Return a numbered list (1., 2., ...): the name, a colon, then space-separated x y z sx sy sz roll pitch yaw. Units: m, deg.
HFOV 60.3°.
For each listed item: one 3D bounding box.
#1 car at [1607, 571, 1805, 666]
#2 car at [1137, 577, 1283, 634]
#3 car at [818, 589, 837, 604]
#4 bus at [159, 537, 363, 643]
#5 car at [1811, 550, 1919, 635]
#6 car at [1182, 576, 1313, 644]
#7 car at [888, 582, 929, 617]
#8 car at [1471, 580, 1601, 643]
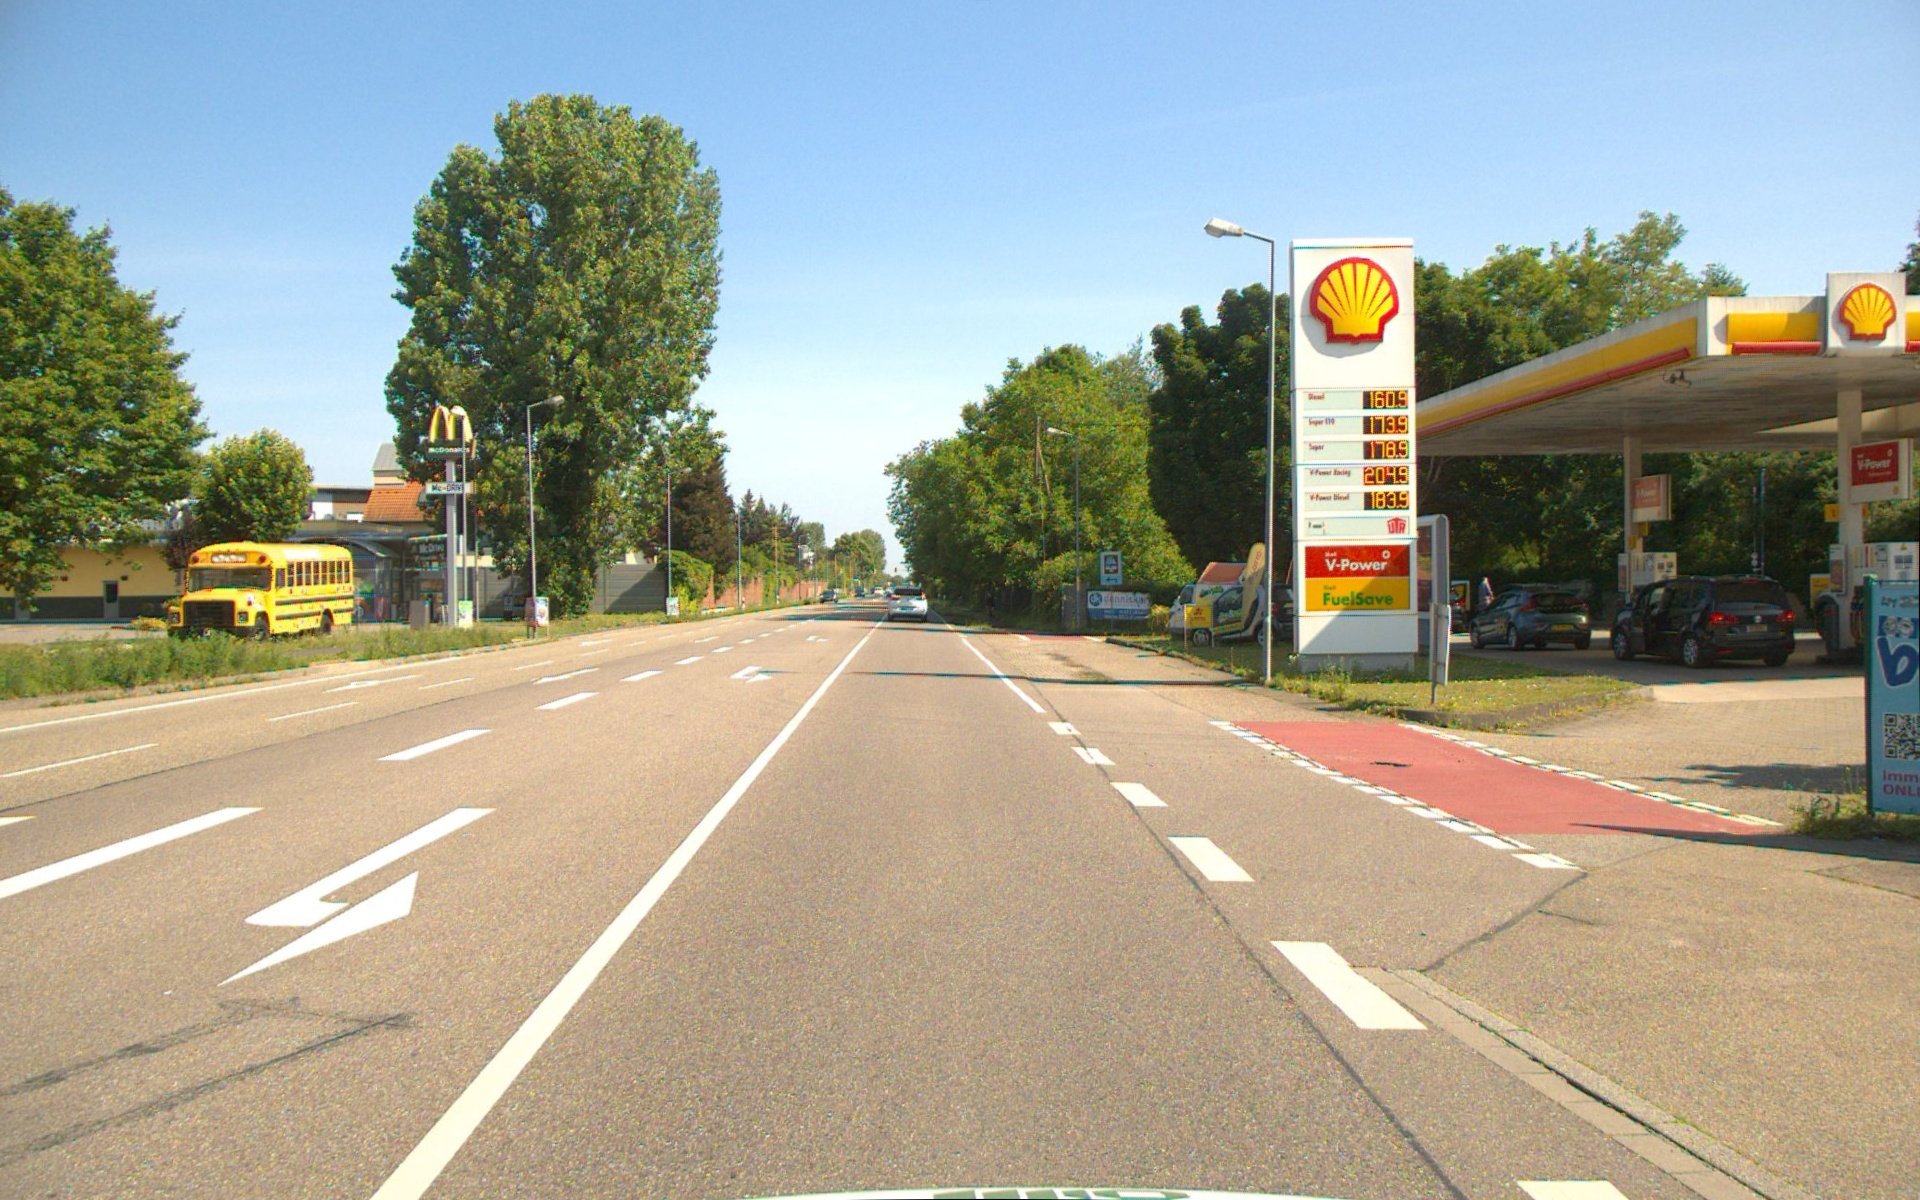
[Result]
1. car: 13.699 0.307 30.616 1.724 1.606 3.875 -1 0 -3
2. car: 7.263 0.169 48.204 3.913 1.557 1.582 1 0 -9
3. car: -15.265 -0.399 191.034 1.809 1.522 4.910 -2 0 -2
4. bus: -19.869 -0.268 47.681 2.528 2.726 8.990 1 0 -4
5. car: 21.916 -0.189 38.213 1.814 1.870 4.777 -1 0 -3
6. car: 6.855 0.244 39.492 2.683 1.557 1.568 -1 -1 43
7. car: -2.375 -0.032 76.731 1.809 1.568 4.223 1 0 -2
8. car: 13.434 0.247 38.798 1.760 1.384 3.849 -1 0 1
